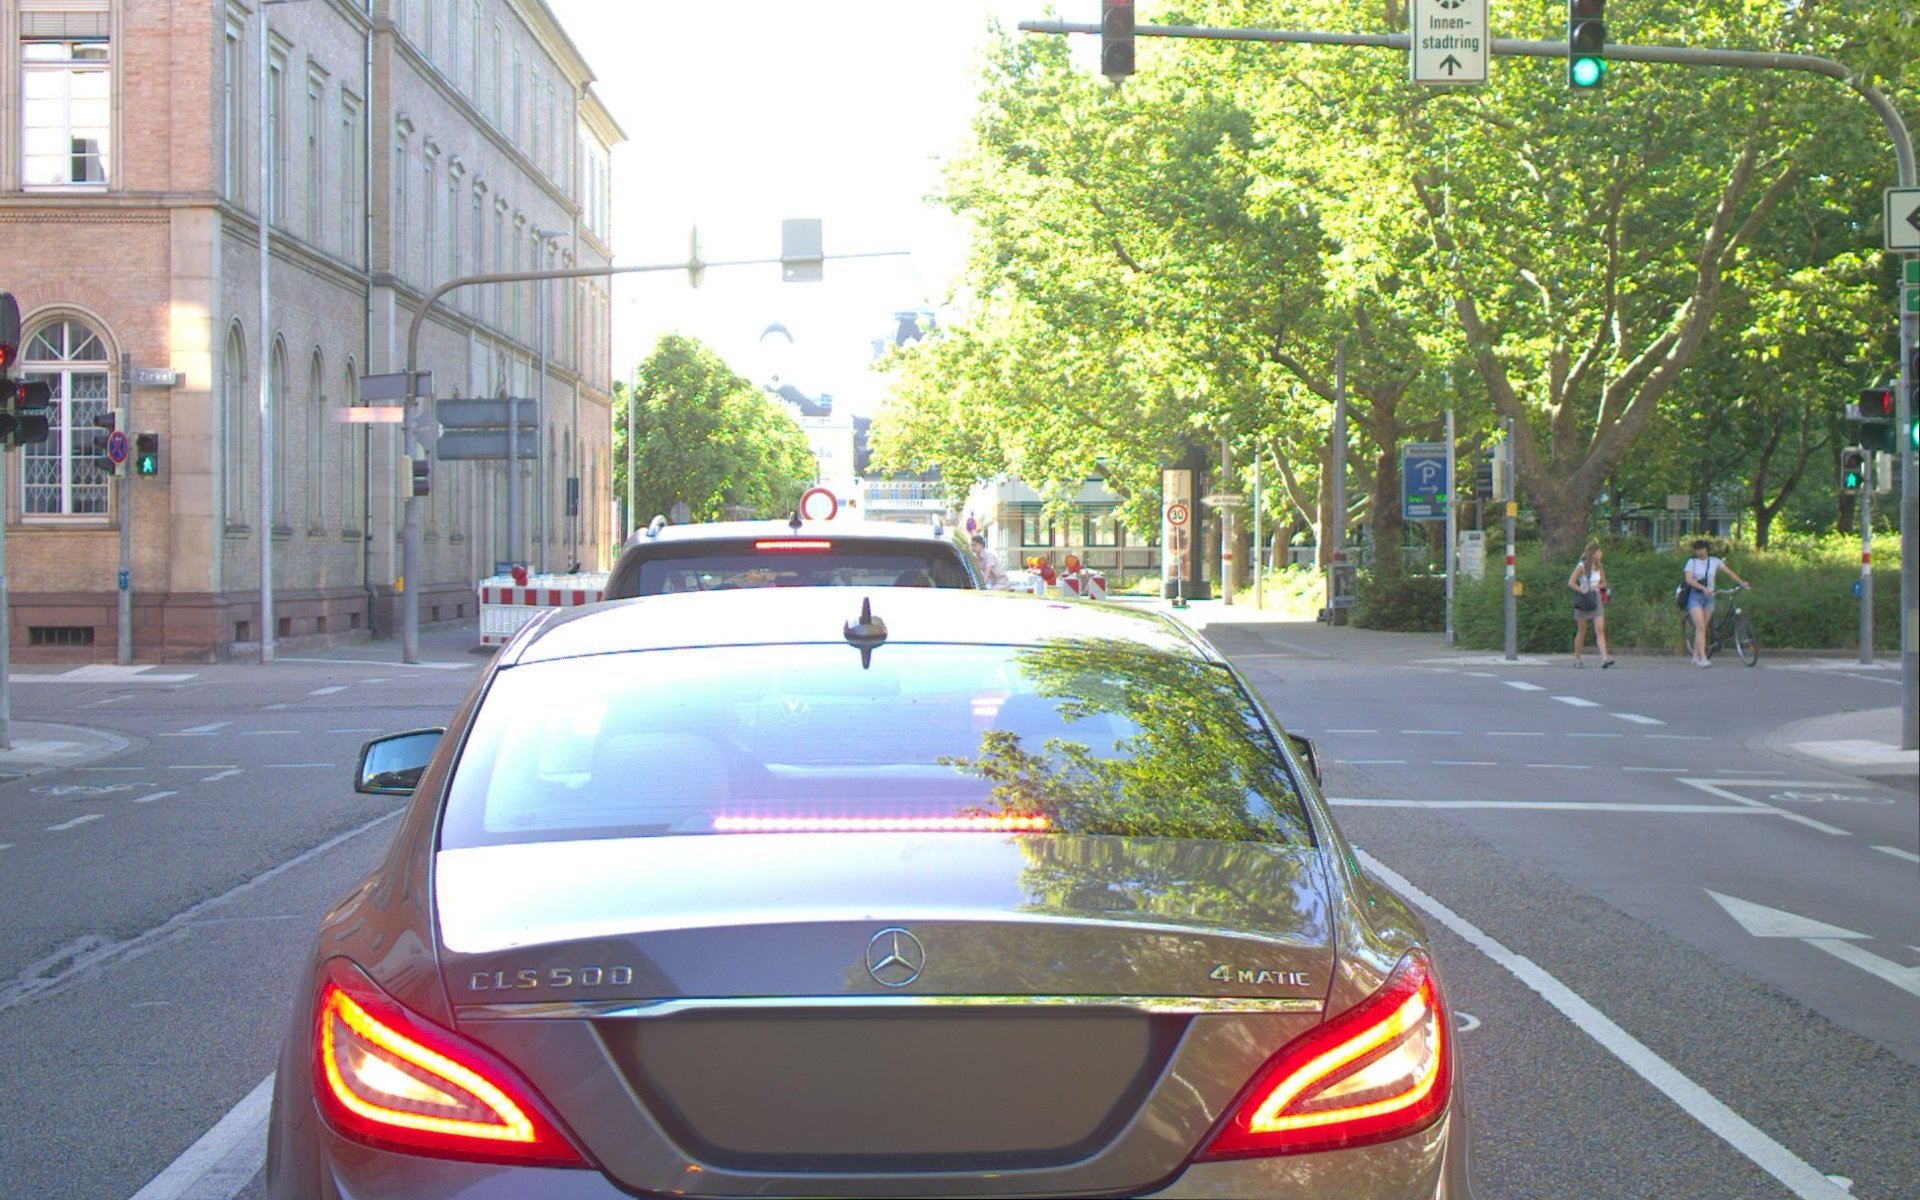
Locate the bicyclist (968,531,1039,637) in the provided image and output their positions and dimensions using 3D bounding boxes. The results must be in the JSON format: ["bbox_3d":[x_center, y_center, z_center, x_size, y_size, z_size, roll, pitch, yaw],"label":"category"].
[{"bbox_3d":[0.640,-0.239,50.688,0.804,1.553,0.650,1,0,-31],"label":"bicyclist"}]

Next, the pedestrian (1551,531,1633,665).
[{"bbox_3d":[8.611,-0.025,46.875,0.732,1.802,0.909,0,-1,-18],"label":"pedestrian"}]

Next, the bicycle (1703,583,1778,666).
[{"bbox_3d":[10.653,0.324,46.961,0.524,1.096,1.741,1,1,-3],"label":"bicycle"}]

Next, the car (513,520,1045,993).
[{"bbox_3d":[-0.584,0.516,13.730,1.809,1.607,4.000,0,1,1],"label":"car"}]

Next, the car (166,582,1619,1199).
[{"bbox_3d":[-0.298,0.703,6.620,1.842,1.424,4.518,1,1,-6],"label":"car"}]

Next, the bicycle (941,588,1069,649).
[{"bbox_3d":[0.669,0.272,50.716,1.861,0.888,0.550,0,1,-31],"label":"bicycle"}]

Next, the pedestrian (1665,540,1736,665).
[{"bbox_3d":[10.154,0.033,47.151,0.683,1.691,0.971,1,0,-4],"label":"pedestrian"}]
